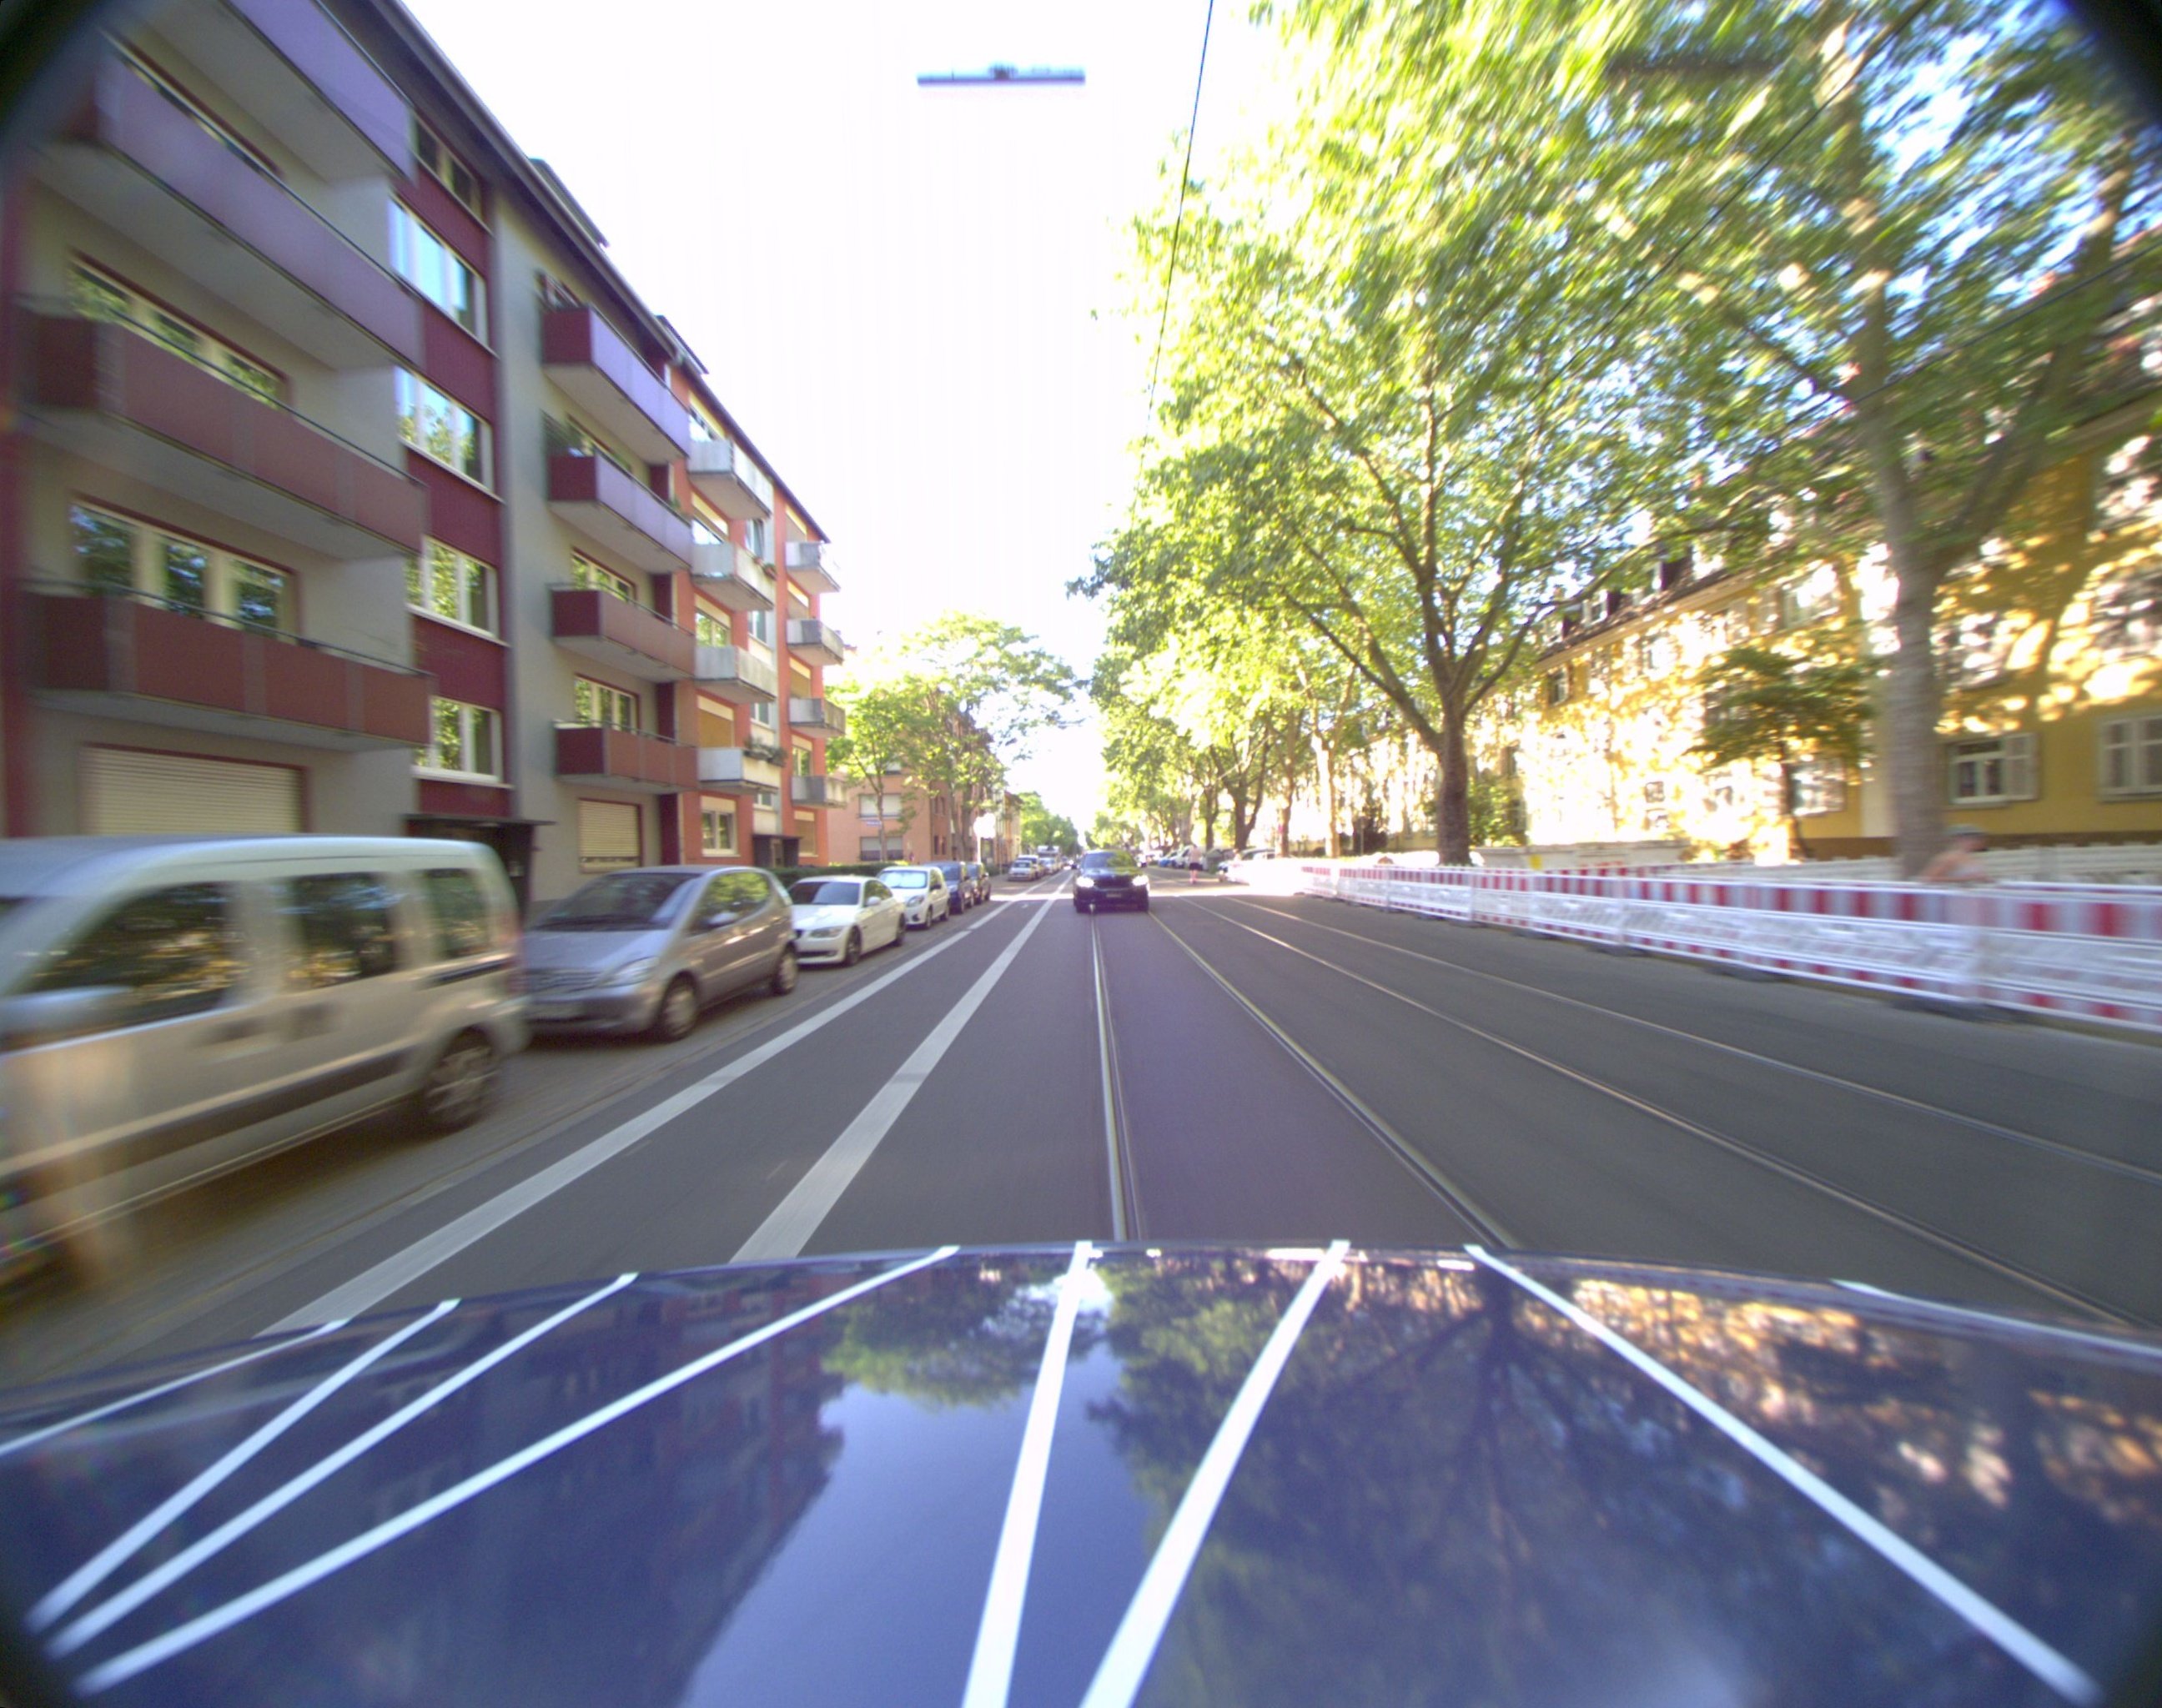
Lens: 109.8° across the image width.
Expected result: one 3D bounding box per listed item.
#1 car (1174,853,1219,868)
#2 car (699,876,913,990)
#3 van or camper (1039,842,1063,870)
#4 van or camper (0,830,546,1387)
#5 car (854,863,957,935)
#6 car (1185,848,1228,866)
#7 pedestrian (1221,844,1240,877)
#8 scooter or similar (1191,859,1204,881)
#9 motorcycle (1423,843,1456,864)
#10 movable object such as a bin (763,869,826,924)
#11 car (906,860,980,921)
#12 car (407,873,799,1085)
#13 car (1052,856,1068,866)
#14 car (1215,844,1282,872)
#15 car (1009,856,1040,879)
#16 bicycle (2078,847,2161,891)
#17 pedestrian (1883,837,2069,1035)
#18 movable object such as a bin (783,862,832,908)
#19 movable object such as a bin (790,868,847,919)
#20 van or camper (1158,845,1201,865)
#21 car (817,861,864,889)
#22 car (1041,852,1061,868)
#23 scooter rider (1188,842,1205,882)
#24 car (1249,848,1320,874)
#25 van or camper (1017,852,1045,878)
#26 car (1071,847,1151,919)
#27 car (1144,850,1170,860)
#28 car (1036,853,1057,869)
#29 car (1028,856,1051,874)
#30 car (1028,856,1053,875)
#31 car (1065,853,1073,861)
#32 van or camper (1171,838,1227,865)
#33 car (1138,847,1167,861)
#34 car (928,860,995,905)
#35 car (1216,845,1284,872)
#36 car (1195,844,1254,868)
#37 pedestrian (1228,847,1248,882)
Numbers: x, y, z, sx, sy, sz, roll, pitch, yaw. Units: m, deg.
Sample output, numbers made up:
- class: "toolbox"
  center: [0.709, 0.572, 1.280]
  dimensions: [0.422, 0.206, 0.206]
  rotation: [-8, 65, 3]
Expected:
- class: "car"
  center: [11.681, 0.643, 76.905]
  dimensions: [4.274, 1.390, 1.753]
  rotation: [-1, 0, 1]
- class: "car"
  center: [-4.234, 1.133, 12.624]
  dimensions: [1.663, 1.391, 4.740]
  rotation: [0, 0, 2]
- class: "van or camper"
  center: [-3.345, 0.203, 85.038]
  dimensions: [2.468, 3.046, 6.267]
  rotation: [0, 0, -1]
- class: "van or camper"
  center: [-4.496, 0.862, 3.127]
  dimensions: [1.673, 1.872, 4.209]
  rotation: [-1, 0, -2]
- class: "car"
  center: [-4.230, 1.027, 18.887]
  dimensions: [1.595, 1.518, 3.835]
  rotation: [0, 1, 1]
- class: "car"
  center: [12.291, 0.306, 74.643]
  dimensions: [3.857, 1.653, 1.862]
  rotation: [-1, 0, 1]
- class: "pedestrian"
  center: [7.990, 0.342, 40.701]
  dimensions: [0.824, 1.735, 0.796]
  rotation: [-3, 1, 1]
- class: "scooter or similar"
  center: [5.759, 0.782, 37.676]
  dimensions: [0.408, 1.077, 1.338]
  rotation: [-3, 1, 1]
- class: "motorcycle"
  center: [21.511, -0.025, 45.638]
  dimensions: [1.714, 1.234, 0.523]
  rotation: [-2, 1, 2]
- class: "movable object such as a bin"
  center: [-7.569, 1.095, 20.160]
  dimensions: [0.926, 1.319, 1.681]
  rotation: [-3, 1, 1]
- class: "car"
  center: [-4.125, 1.040, 23.222]
  dimensions: [1.530, 1.581, 3.751]
  rotation: [-3, 1, -1]
- class: "car"
  center: [-4.424, 1.030, 7.770]
  dimensions: [1.664, 1.571, 3.589]
  rotation: [-1, 0, 1]
- class: "car"
  center: [-2.919, 0.984, 107.277]
  dimensions: [1.998, 1.372, 4.739]
  rotation: [0, 0, 0]
- class: "car"
  center: [11.620, 0.299, 52.882]
  dimensions: [4.210, 1.747, 1.739]
  rotation: [-2, 0, -1]
- class: "car"
  center: [-3.822, 0.904, 52.052]
  dimensions: [1.710, 1.464, 4.000]
  rotation: [-1, 0, 1]
- class: "bicycle"
  center: [20.655, 0.281, 14.699]
  dimensions: [0.507, 0.814, 1.643]
  rotation: [-2, 0, -3]
- class: "pedestrian"
  center: [8.010, 0.696, 6.839]
  dimensions: [0.718, 1.660, 0.778]
  rotation: [-3, 1, 1]
- class: "movable object such as a bin"
  center: [-8.366, 0.925, 23.259]
  dimensions: [1.155, 1.319, 0.775]
  rotation: [-3, 1, 1]
- class: "movable object such as a bin"
  center: [-7.559, 1.123, 21.962]
  dimensions: [0.969, 1.319, 1.721]
  rotation: [-3, 1, 1]
- class: "van or camper"
  center: [11.890, 0.113, 92.121]
  dimensions: [4.832, 2.177, 2.119]
  rotation: [-2, 0, 0]
- class: "car"
  center: [-14.231, 1.224, 44.814]
  dimensions: [1.730, 1.531, 3.990]
  rotation: [-2, 0, -31]
- class: "car"
  center: [-3.095, 0.581, 78.671]
  dimensions: [1.797, 1.618, 4.276]
  rotation: [0, 0, 0]
- class: "scooter rider"
  center: [5.733, 0.396, 37.720]
  dimensions: [0.651, 1.946, 0.624]
  rotation: [-3, 1, 1]
- class: "car"
  center: [12.394, 0.443, 46.483]
  dimensions: [3.857, 1.489, 1.862]
  rotation: [-1, 0, 1]
- class: "van or camper"
  center: [-3.731, 0.806, 57.580]
  dimensions: [1.759, 1.853, 4.830]
  rotation: [-1, 0, 0]
- class: "car"
  center: [0.776, 0.720, 21.440]
  dimensions: [1.924, 1.741, 4.806]
  rotation: [-2, 0, 0]
- class: "car"
  center: [13.082, 0.230, 130.459]
  dimensions: [4.170, 1.506, 1.925]
  rotation: [-2, 0, -1]
- class: "car"
  center: [-3.235, 0.627, 72.168]
  dimensions: [1.793, 1.513, 4.321]
  rotation: [0, 0, -1]
- class: "car"
  center: [-3.649, 0.950, 67.683]
  dimensions: [1.772, 1.563, 4.337]
  rotation: [0, 0, 0]
- class: "car"
  center: [-3.311, 0.892, 62.793]
  dimensions: [1.710, 1.464, 4.168]
  rotation: [-1, 0, 1]
- class: "car"
  center: [-2.689, 0.669, 174.033]
  dimensions: [1.815, 1.701, 4.372]
  rotation: [0, 0, 0]
- class: "van or camper"
  center: [12.259, -0.258, 79.410]
  dimensions: [5.403, 2.501, 2.445]
  rotation: [-2, 0, 0]
- class: "car"
  center: [12.935, -0.023, 137.839]
  dimensions: [5.019, 2.383, 2.028]
  rotation: [-2, 0, -1]
- class: "car"
  center: [-4.204, 0.961, 27.215]
  dimensions: [1.738, 1.453, 3.916]
  rotation: [0, 0, 0]
- class: "car"
  center: [11.210, 0.320, 50.574]
  dimensions: [4.242, 1.678, 1.934]
  rotation: [-1, 0, 8]
- class: "car"
  center: [12.441, 0.165, 66.049]
  dimensions: [4.669, 1.934, 1.961]
  rotation: [-2, 0, -2]
- class: "pedestrian"
  center: [8.224, 0.543, 39.809]
  dimensions: [0.824, 1.735, 0.796]
  rotation: [-3, 1, 1]
